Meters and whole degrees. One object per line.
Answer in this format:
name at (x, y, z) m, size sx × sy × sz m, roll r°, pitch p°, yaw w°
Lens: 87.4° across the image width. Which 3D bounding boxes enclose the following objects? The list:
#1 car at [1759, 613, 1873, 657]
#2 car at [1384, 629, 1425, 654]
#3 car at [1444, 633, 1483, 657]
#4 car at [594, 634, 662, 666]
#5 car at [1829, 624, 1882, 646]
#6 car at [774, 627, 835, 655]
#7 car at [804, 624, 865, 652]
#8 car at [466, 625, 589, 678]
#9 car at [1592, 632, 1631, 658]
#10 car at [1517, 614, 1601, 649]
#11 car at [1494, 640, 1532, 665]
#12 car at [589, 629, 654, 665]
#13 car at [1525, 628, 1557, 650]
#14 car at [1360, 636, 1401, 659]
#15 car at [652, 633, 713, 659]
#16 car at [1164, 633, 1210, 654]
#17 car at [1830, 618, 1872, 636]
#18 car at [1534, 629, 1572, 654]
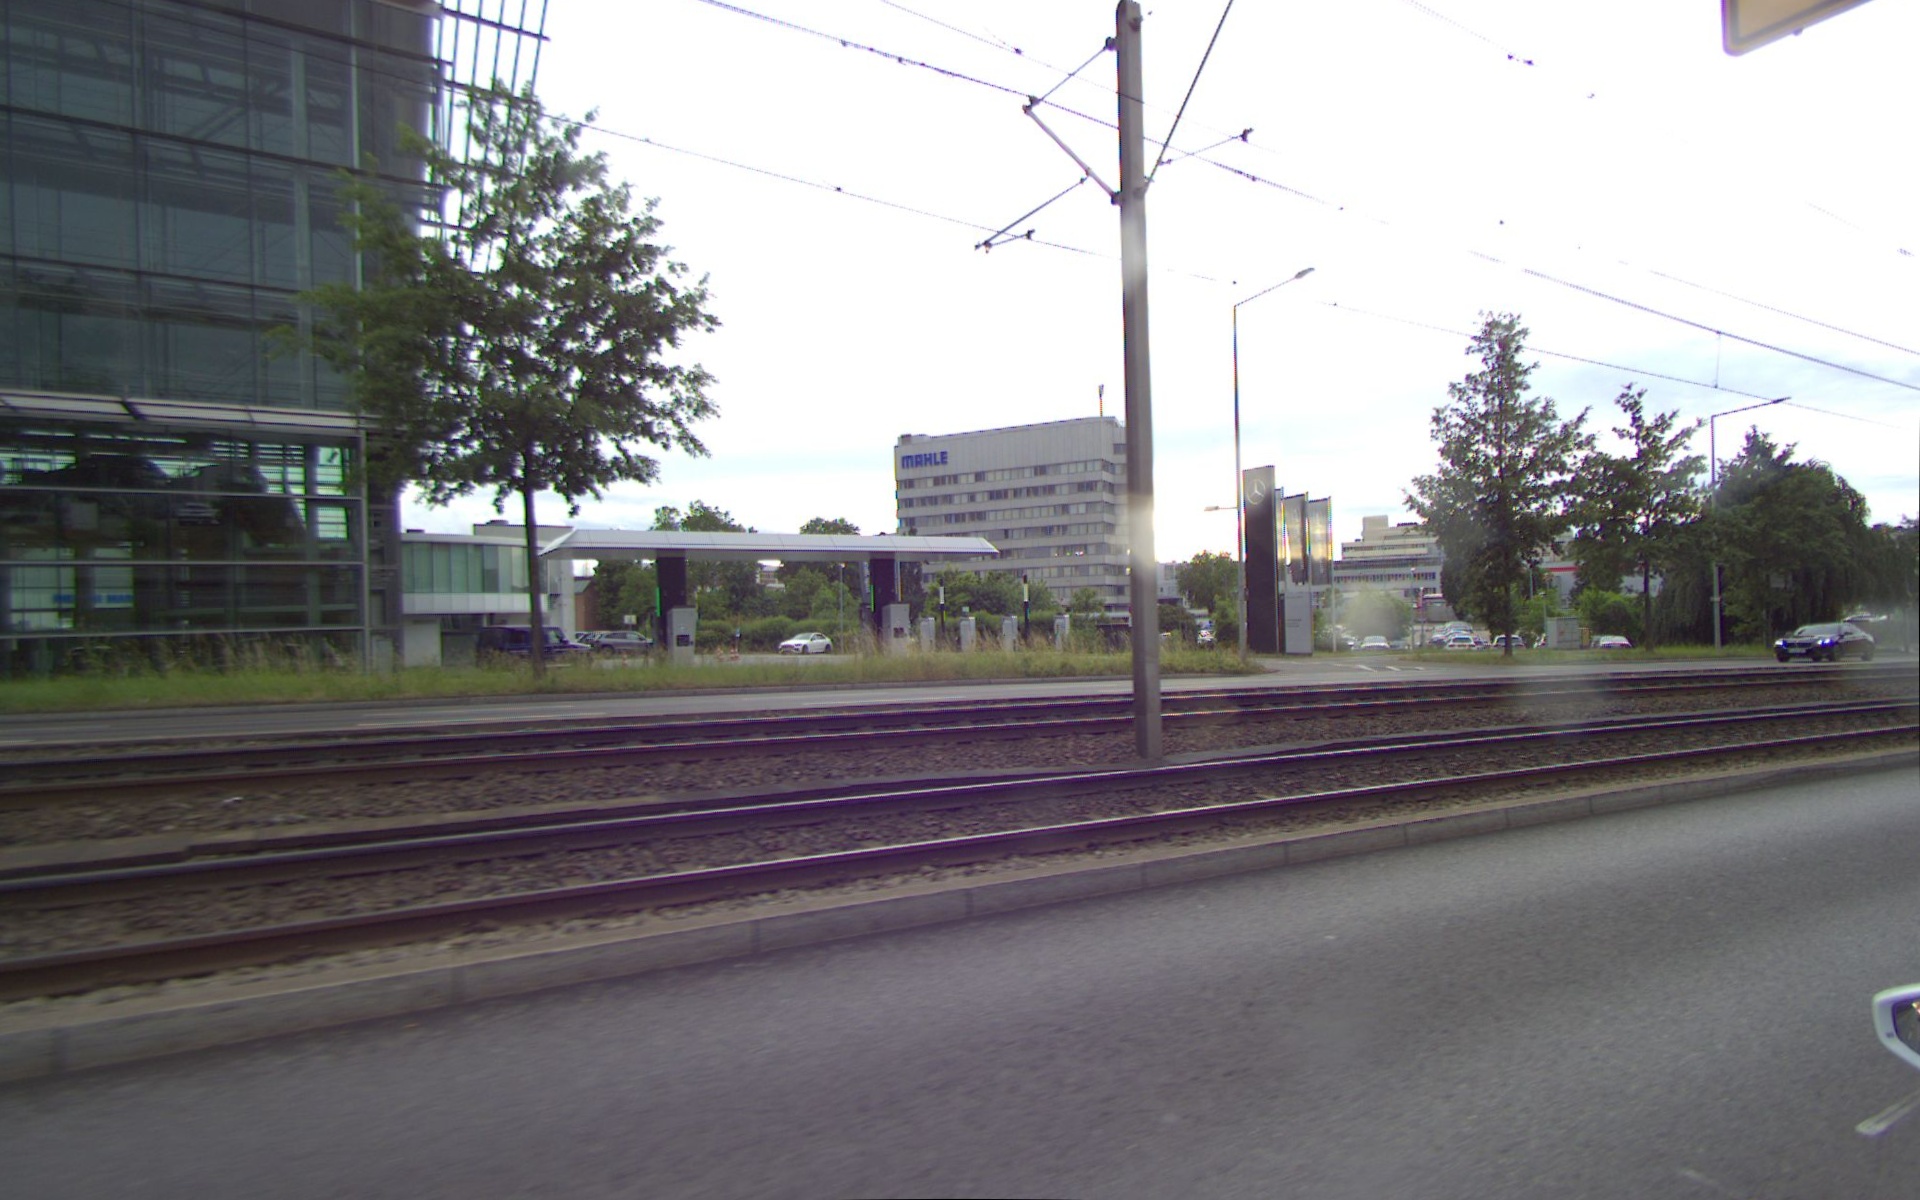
car at (32.194, 1.329, 37.761) m, size 4.351 × 1.540 × 1.875 m, roll 1°, pitch -4°, yaw -30°
car at (30.162, 2.788, 68.034) m, size 1.965 × 1.530 × 3.991 m, roll 2°, pitch -1°, yaw 32°
car at (34.547, 3.102, 68.888) m, size 1.729 × 1.514 × 3.986 m, roll 2°, pitch -1°, yaw 36°
car at (-19.658, 2.979, 59.506) m, size 3.693 × 1.732 × 1.774 m, roll 3°, pitch -1°, yaw -21°
car at (64.239, 2.490, 72.153) m, size 1.964 × 1.433 × 3.994 m, roll 2°, pitch -1°, yaw 29°
car at (-10.506, 2.755, 67.940) m, size 1.964 × 1.751 × 3.993 m, roll 2°, pitch -1°, yaw 30°
car at (-8.260, 2.509, 66.625) m, size 1.964 × 1.751 × 3.993 m, roll 2°, pitch -1°, yaw 30°
car at (-16.599, 1.943, 38.734) m, size 1.861 × 1.875 × 3.992 m, roll 2°, pitch -1°, yaw 31°
car at (41.429, 2.830, 63.940) m, size 1.965 × 1.530 × 3.991 m, roll 2°, pitch -1°, yaw 32°
car at (31.173, 1.623, 52.249) m, size 3.950 × 1.672 × 1.986 m, roll 3°, pitch -1°, yaw -28°
car at (37.149, 3.517, 67.450) m, size 1.729 × 1.514 × 3.986 m, roll 2°, pitch -1°, yaw 36°
car at (-21.067, 2.914, 62.517) m, size 3.691 × 2.040 × 1.898 m, roll 2°, pitch -1°, yaw -21°
car at (43.986, 2.923, 76.135) m, size 1.964 × 1.530 × 3.994 m, roll 2°, pitch -1°, yaw 29°
car at (29.969, 3.340, 71.523) m, size 1.729 × 1.514 × 3.986 m, roll 2°, pitch -1°, yaw 36°
car at (-20.196, 3.299, 73.157) m, size 1.964 × 1.751 × 3.993 m, roll 2°, pitch -1°, yaw 30°
car at (20.743, 3.949, 91.905) m, size 3.645 × 1.696 × 1.997 m, roll 2°, pitch -1°, yaw 28°
car at (107.247, 3.191, 120.985) m, size 1.959 × 2.040 × 4.003 m, roll 2°, pitch -1°, yaw 10°
car at (39.129, 2.731, 66.272) m, size 1.729 × 1.514 × 3.986 m, roll 2°, pitch -1°, yaw 36°
